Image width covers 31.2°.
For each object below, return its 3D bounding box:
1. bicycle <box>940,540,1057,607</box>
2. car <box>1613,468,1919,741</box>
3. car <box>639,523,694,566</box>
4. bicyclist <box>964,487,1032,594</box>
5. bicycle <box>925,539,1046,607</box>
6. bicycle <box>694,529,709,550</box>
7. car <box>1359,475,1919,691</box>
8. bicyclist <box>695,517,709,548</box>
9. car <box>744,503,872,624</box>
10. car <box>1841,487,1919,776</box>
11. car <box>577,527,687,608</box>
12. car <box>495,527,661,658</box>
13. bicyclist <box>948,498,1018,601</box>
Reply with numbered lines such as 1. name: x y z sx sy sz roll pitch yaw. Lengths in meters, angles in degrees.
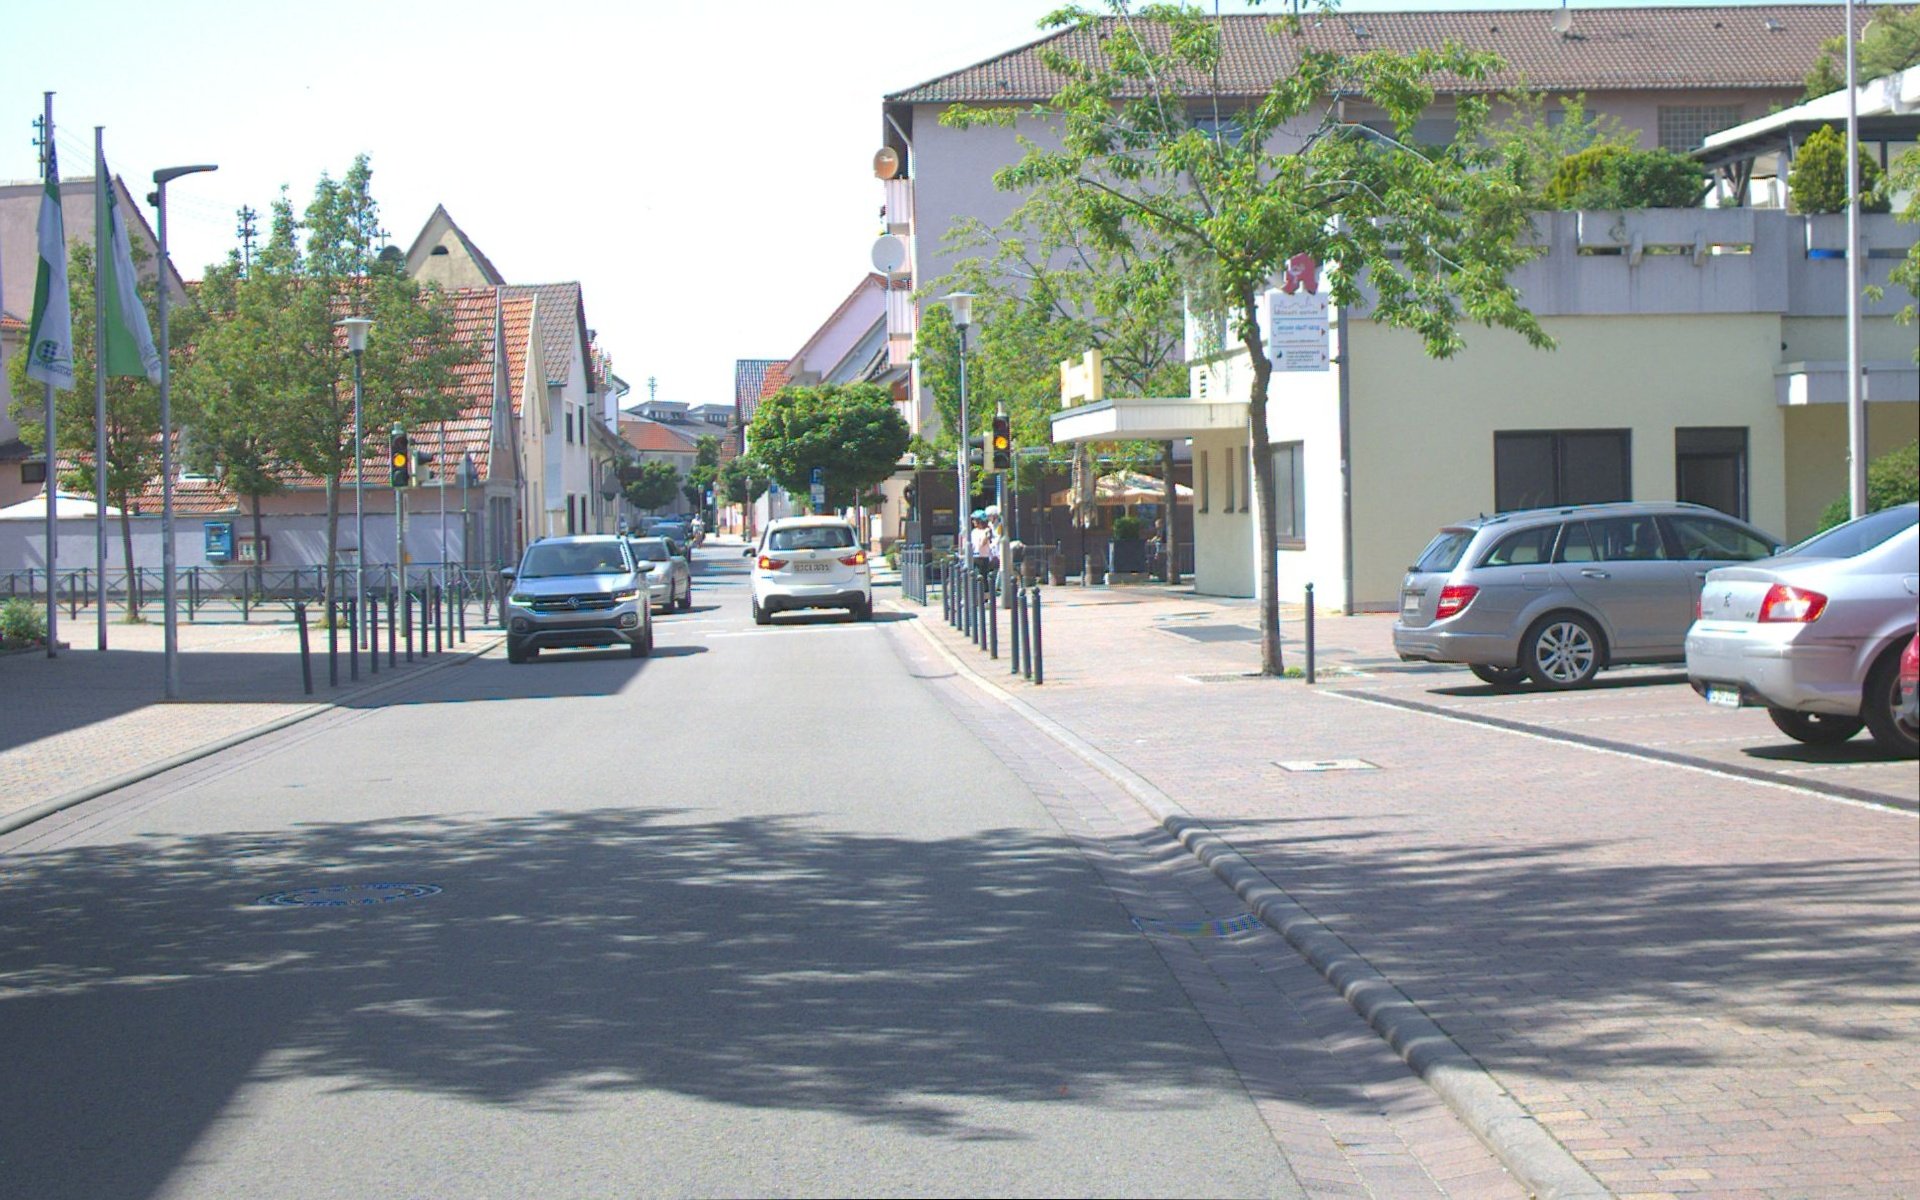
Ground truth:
1. bicycle: 0.630 -0.427 55.213 1.891 0.954 0.675 -5 2 -43
2. car: 6.312 -0.082 19.995 4.535 1.435 1.840 -3 1 -8
3. car: -10.651 -2.038 124.861 1.714 1.512 3.787 -1 1 -1
4. bicyclist: 0.610 -0.954 55.214 0.759 1.658 0.670 -4 2 -42
5. bicycle: 0.403 -0.426 53.984 1.891 0.954 0.675 -5 3 -42
6. bicycle: -12.620 -2.951 168.108 0.664 1.003 1.898 -1 1 -3
7. car: 5.783 -0.165 28.243 4.574 1.507 1.917 -3 1 -8
8. bicyclist: -12.613 -3.302 168.161 0.673 1.477 0.770 -1 1 -3
9. car: -2.357 -0.609 53.565 1.834 1.646 4.001 -3 3 -2
10. car: 6.637 0.086 17.521 3.728 1.447 1.745 -2 1 -8
11. car: -6.229 -0.642 65.678 1.880 1.459 4.437 -1 1 -3
12. car: -4.869 -0.131 44.243 1.851 1.568 4.001 -1 1 -3
13. bicyclist: 0.362 -0.792 53.939 0.759 1.576 0.670 -5 3 -42
